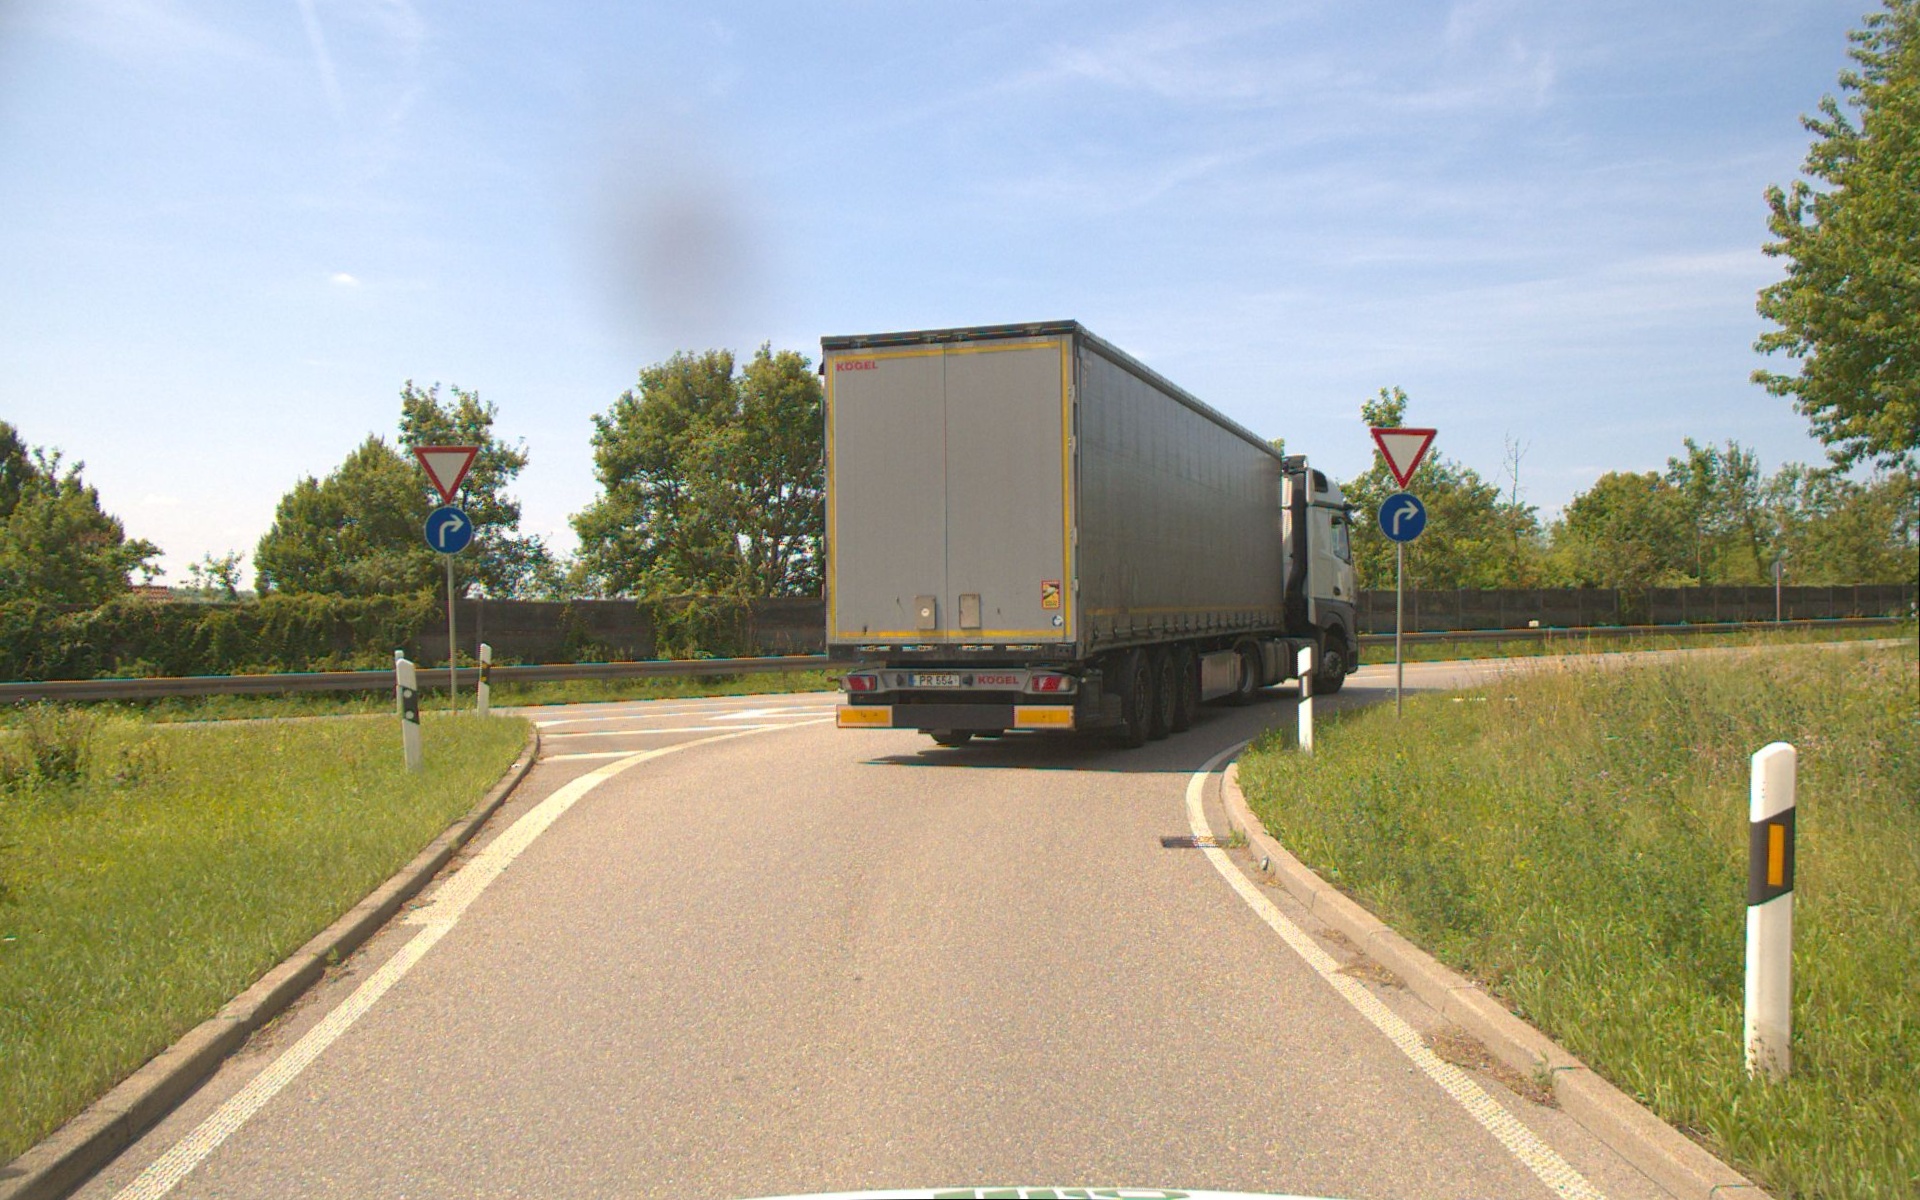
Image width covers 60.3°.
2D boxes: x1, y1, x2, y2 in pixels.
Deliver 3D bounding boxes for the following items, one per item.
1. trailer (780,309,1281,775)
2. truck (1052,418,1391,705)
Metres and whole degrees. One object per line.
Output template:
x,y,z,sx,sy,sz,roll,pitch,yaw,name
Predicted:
1.795,-0.484,21.395,2.963,4.105,13.357,-1,0,18,trailer
4.735,-0.597,28.572,3.097,4.298,7.101,-1,0,33,truck
